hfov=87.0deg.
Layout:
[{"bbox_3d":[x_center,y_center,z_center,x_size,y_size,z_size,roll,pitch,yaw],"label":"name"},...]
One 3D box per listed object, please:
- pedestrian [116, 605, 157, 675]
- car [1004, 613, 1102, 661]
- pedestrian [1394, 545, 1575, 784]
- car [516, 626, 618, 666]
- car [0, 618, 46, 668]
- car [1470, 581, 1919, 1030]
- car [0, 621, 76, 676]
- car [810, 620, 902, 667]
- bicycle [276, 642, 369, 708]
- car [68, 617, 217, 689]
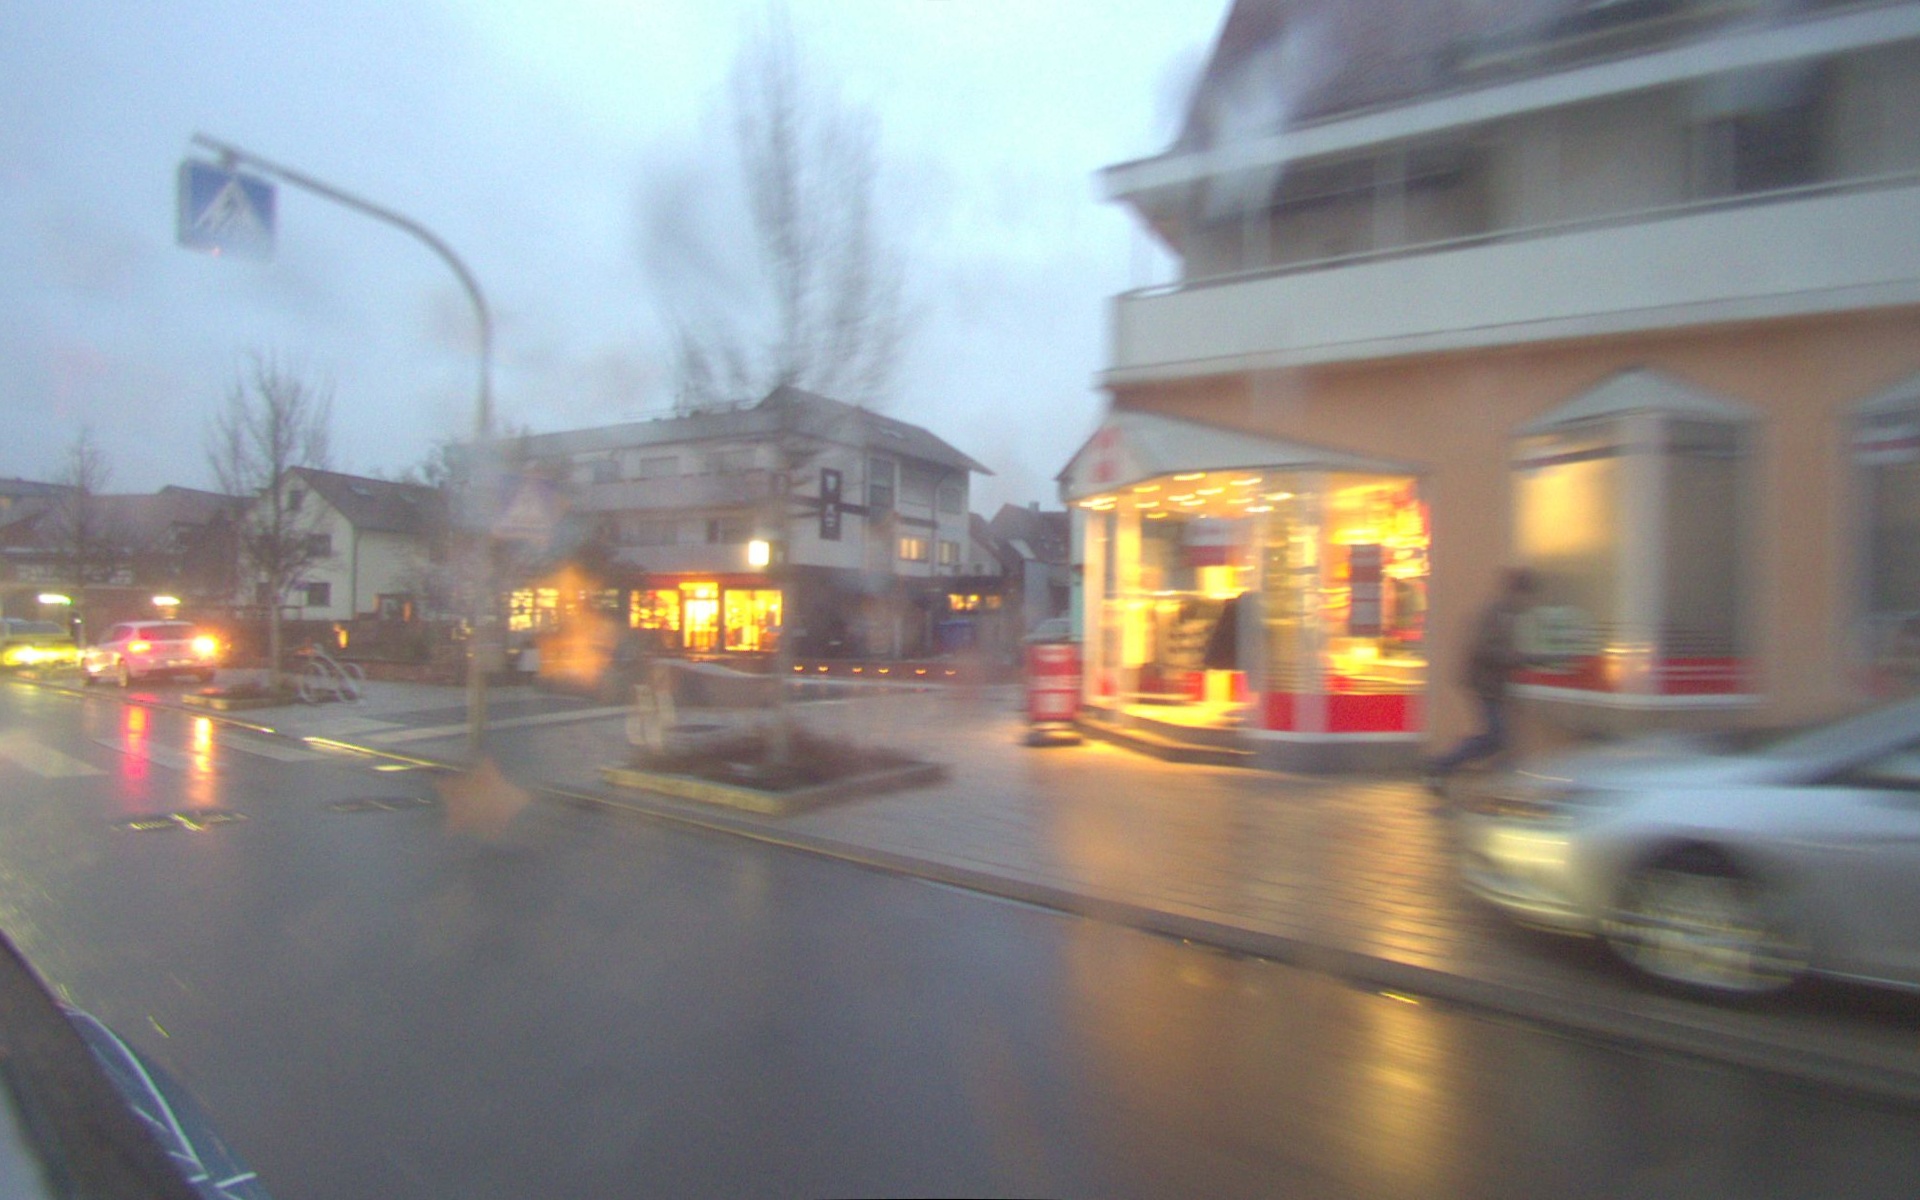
[{"bbox_3d":[-24.559,1.183,30.190,0.890,2.029,0.791,1,-2,-44],"label":"pedestrian"},{"bbox_3d":[3.393,1.280,36.361,1.978,1.615,3.957,-1,-1,31],"label":"car"},{"bbox_3d":[4.013,0.452,7.741,1.095,1.671,0.819,-1,0,37],"label":"pedestrian"},{"bbox_3d":[-16.763,1.940,43.173,3.983,1.576,1.980,-1,-2,30],"label":"car"},{"bbox_3d":[-31.364,1.359,32.671,3.660,1.546,1.860,-1,0,33],"label":"car"},{"bbox_3d":[4.647,0.698,3.736,4.617,1.570,1.973,-1,0,40],"label":"car"},{"bbox_3d":[-27.214,1.357,29.236,4.370,1.442,1.678,-1,0,37],"label":"car"},{"bbox_3d":[-4.270,1.805,42.176,1.990,1.858,3.963,0,-2,27],"label":"car"},{"bbox_3d":[-10.707,1.264,16.990,1.733,1.070,0.322,-2,-7,23],"label":"bicycle"},{"bbox_3d":[-19.078,1.163,23.559,4.176,1.500,1.768,-1,0,37],"label":"car"}]
